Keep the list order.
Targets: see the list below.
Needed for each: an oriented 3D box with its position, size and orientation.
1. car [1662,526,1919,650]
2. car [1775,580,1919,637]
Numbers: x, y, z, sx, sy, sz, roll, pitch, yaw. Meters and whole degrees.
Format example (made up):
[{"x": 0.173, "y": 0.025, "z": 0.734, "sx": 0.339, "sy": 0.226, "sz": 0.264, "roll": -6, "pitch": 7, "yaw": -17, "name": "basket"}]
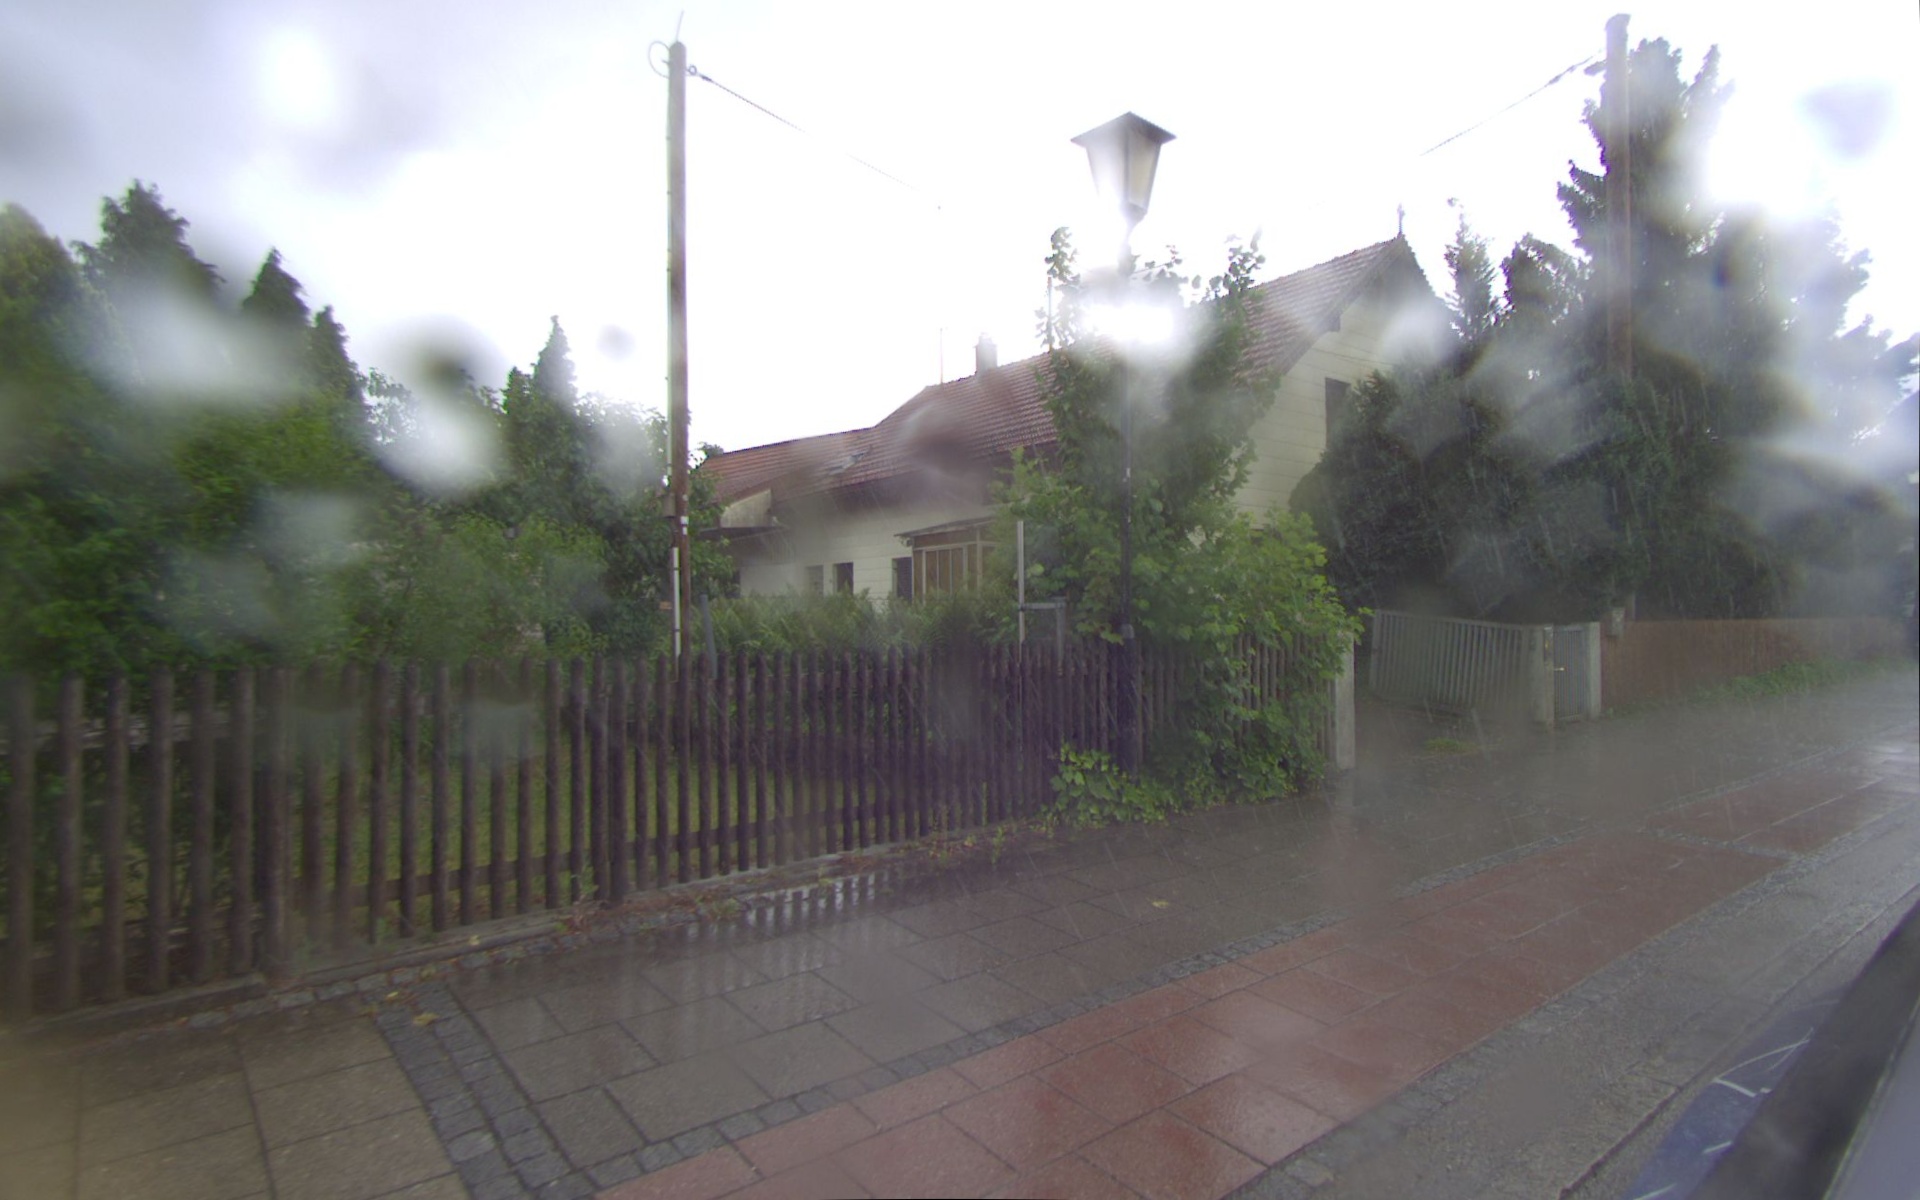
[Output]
[{"x": 20.484, "y": -0.358, "z": 24.603, "sx": 1.968, "sy": 2.761, "sz": 5.307, "roll": -1, "pitch": 2, "yaw": -45, "name": "car"}, {"x": 25.843, "y": 0.234, "z": 28.383, "sx": 1.800, "sy": 1.438, "sz": 4.435, "roll": -1, "pitch": 3, "yaw": -43, "name": "car"}]
